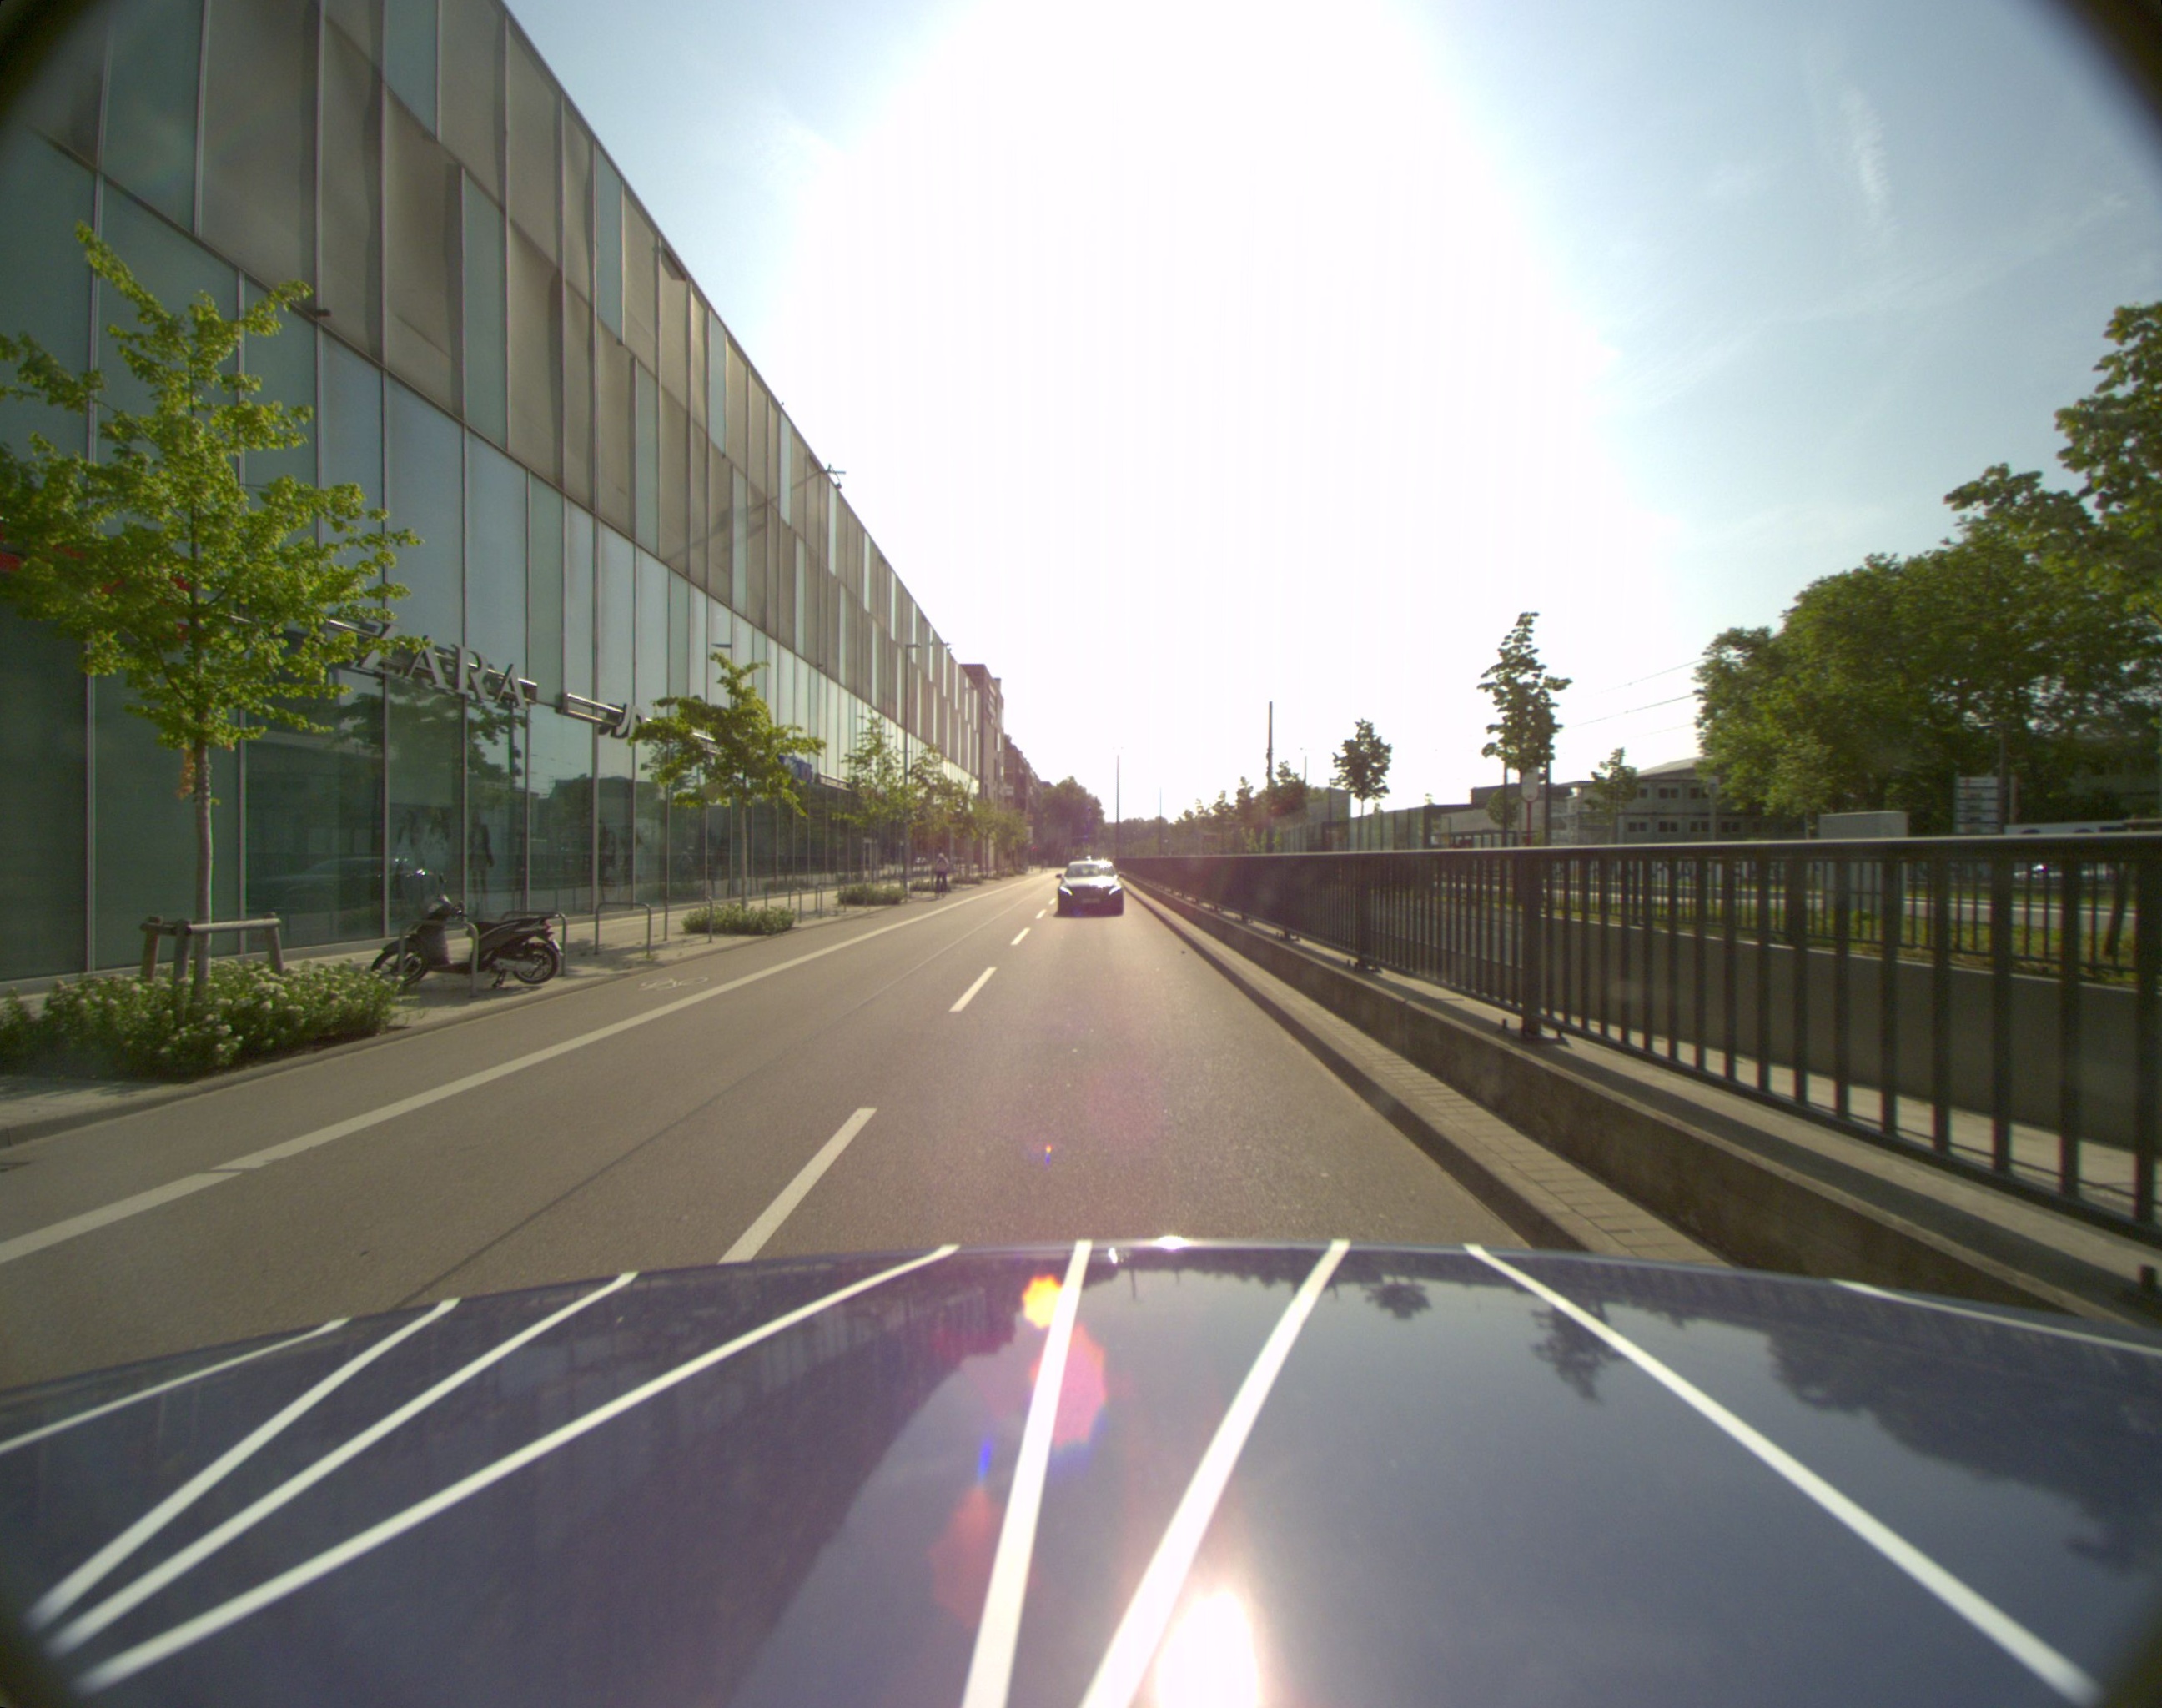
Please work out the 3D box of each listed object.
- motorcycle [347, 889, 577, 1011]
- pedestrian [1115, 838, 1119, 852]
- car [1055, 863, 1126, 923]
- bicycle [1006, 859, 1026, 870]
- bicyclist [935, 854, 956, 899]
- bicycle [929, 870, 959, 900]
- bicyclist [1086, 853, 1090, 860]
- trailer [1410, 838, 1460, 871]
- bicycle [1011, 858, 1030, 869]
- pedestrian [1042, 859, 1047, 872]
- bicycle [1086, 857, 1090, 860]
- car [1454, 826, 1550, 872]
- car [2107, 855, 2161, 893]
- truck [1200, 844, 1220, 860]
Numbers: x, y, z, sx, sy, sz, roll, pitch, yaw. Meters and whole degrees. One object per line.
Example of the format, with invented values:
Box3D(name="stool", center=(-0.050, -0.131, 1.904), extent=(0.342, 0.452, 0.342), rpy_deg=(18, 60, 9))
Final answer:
Box3D(name="motorcycle", center=(-7.409, 1.115, 9.204), extent=(1.975, 1.342, 0.867), rpy_deg=(0, 1, -9))
Box3D(name="pedestrian", center=(4.375, -1.050, 92.004), extent=(0.468, 1.640, 0.777), rpy_deg=(0, 0, 1))
Box3D(name="car", center=(0.378, 0.991, 21.362), extent=(1.716, 1.429, 5.058), rpy_deg=(-1, 0, 4))
Box3D(name="bicycle", center=(-6.383, 1.029, 74.252), extent=(1.882, 1.103, 0.490), rpy_deg=(0, 0, 3))
Box3D(name="bicyclist", center=(-5.404, 0.890, 30.286), extent=(0.652, 1.738, 0.769), rpy_deg=(0, 0, 4))
Box3D(name="bicycle", center=(-5.411, 1.205, 30.095), extent=(0.662, 1.111, 2.051), rpy_deg=(0, 0, 4))
Box3D(name="bicyclist", center=(1.401, 0.472, 155.672), extent=(0.612, 1.504, 0.813), rpy_deg=(0, 0, -8))
Box3D(name="trailer", center=(30.924, 0.023, 66.478), extent=(2.050, 2.764, 5.021), rpy_deg=(-2, 0, 1))
Box3D(name="bicycle", center=(-6.254, 0.952, 78.428), extent=(1.843, 1.106, 0.687), rpy_deg=(-2, 0, 3))
Box3D(name="pedestrian", center=(-4.442, 1.386, 92.441), extent=(0.468, 1.640, 0.777), rpy_deg=(0, 0, 1))
Box3D(name="bicycle", center=(1.425, 0.881, 155.591), extent=(0.630, 0.702, 1.808), rpy_deg=(0, 0, -8))
Box3D(name="car", center=(35.232, -0.400, 64.071), extent=(3.061, 3.492, 9.233), rpy_deg=(-1, 0, 1))
Box3D(name="car", center=(35.178, 0.650, 24.010), extent=(1.504, 1.195, 2.960), rpy_deg=(-1, 0, 1))
Box3D(name="truck", center=(29.009, -0.408, 171.496), extent=(3.029, 3.565, 8.891), rpy_deg=(0, 0, 1))
